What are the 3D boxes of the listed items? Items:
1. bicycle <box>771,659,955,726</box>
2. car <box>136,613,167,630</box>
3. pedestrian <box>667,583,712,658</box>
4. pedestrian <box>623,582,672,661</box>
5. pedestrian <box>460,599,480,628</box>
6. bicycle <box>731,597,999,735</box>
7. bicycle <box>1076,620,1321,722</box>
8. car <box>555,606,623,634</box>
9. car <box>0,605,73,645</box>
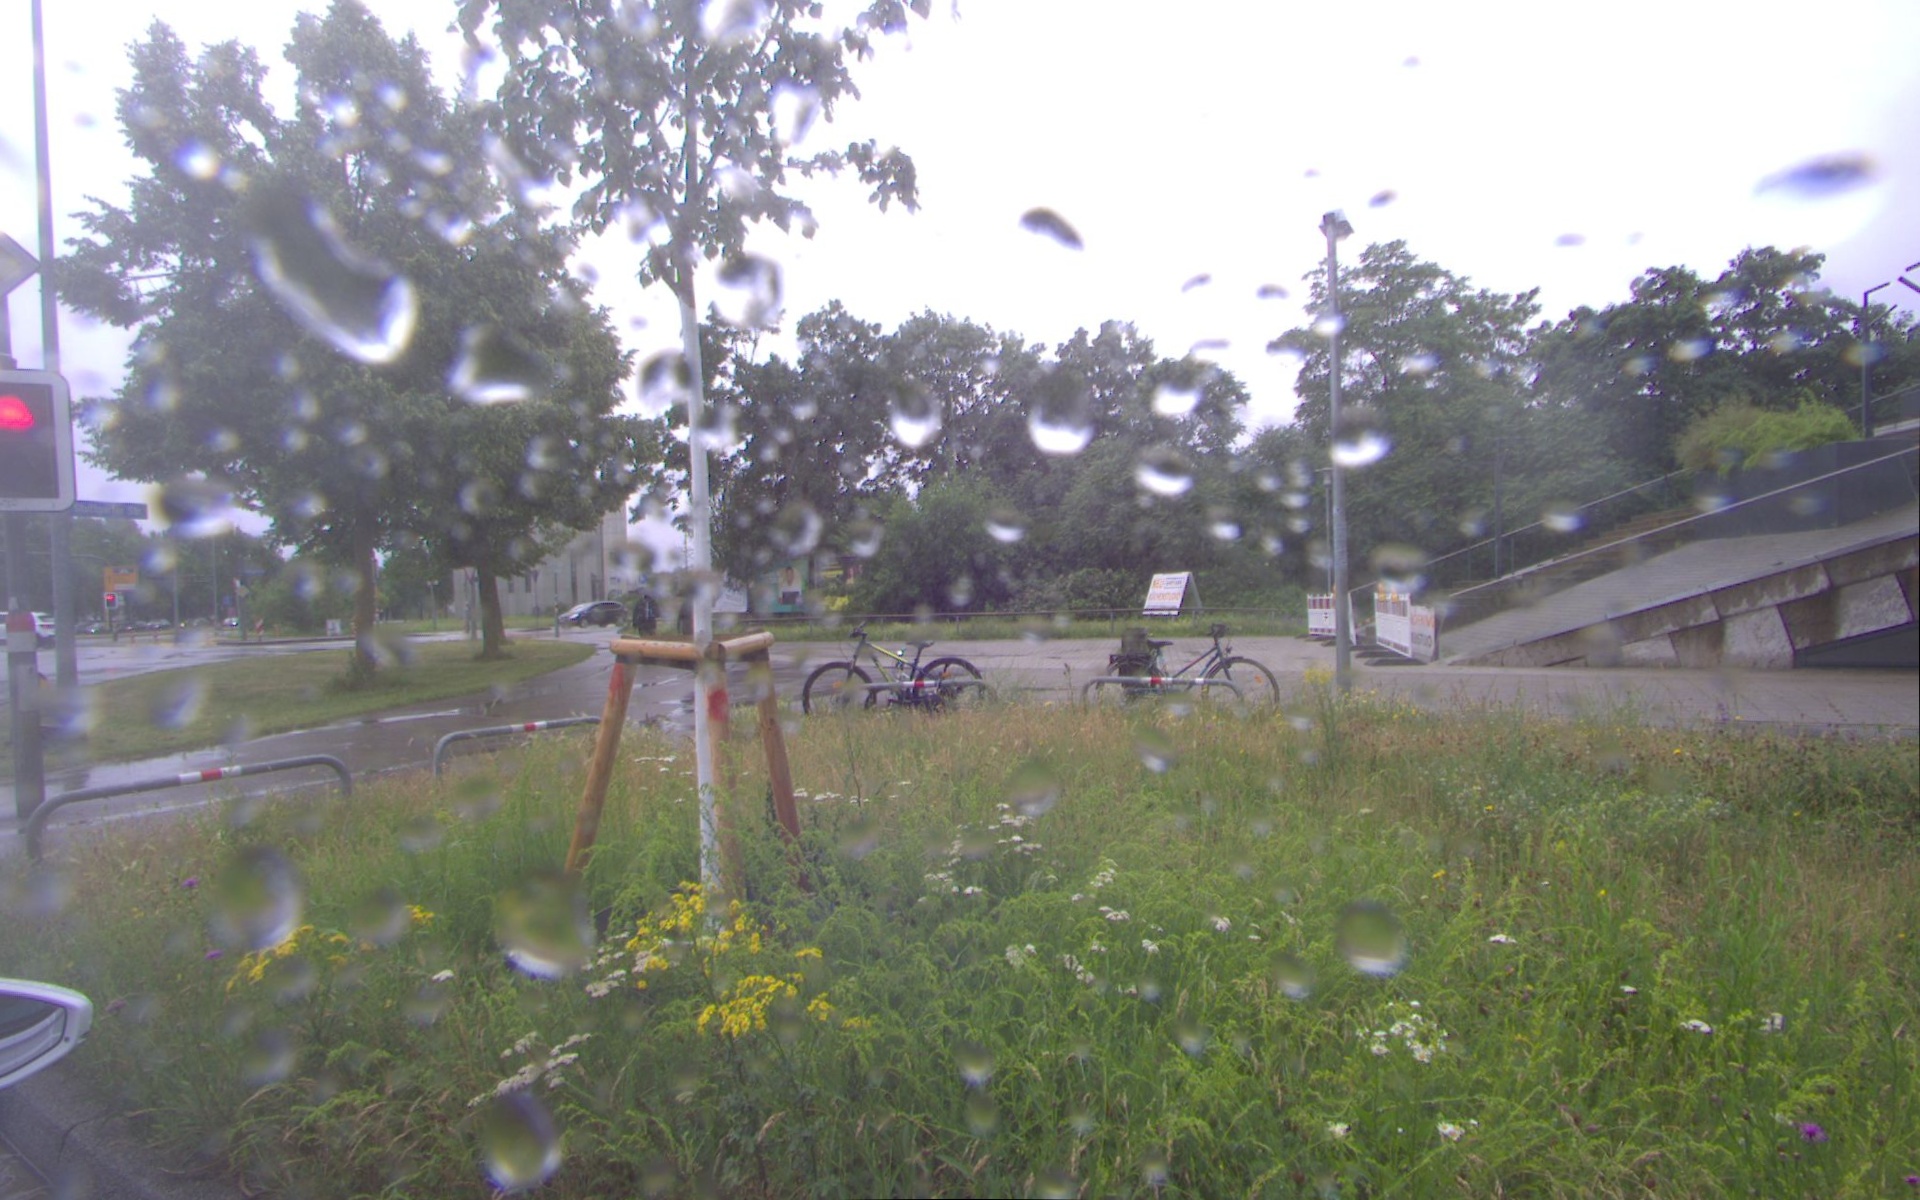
[{"bbox_3d":[-0.941,0.896,9.827,1.771,0.566,0.320,-1,1,-17],"label":"bicycle"},{"bbox_3d":[-95.181,2.555,117.885,1.763,2.039,3.665,0,-2,-20],"label":"car"},{"bbox_3d":[-6.595,0.499,24.473,0.906,1.807,0.808,0,-1,-3],"label":"pedestrian"},{"bbox_3d":[-7.208,0.502,23.155,0.906,1.807,0.808,0,-1,-3],"label":"pedestrian"},{"bbox_3d":[-30.714,0.845,62.753,0.705,1.794,0.948,-1,-2,42],"label":"pedestrian"},{"bbox_3d":[-0.889,0.589,9.539,2.480,1.205,0.552,-1,1,-17],"label":"bicycle"},{"bbox_3d":[2.194,0.617,9.289,2.129,0.858,0.634,-1,0,26],"label":"bicycle"},{"bbox_3d":[-23.250,1.276,62.868,1.760,1.668,3.989,-1,-2,24],"label":"car"},{"bbox_3d":[-40.262,1.074,42.251,3.882,1.668,1.682,1,-2,-22],"label":"car"}]
